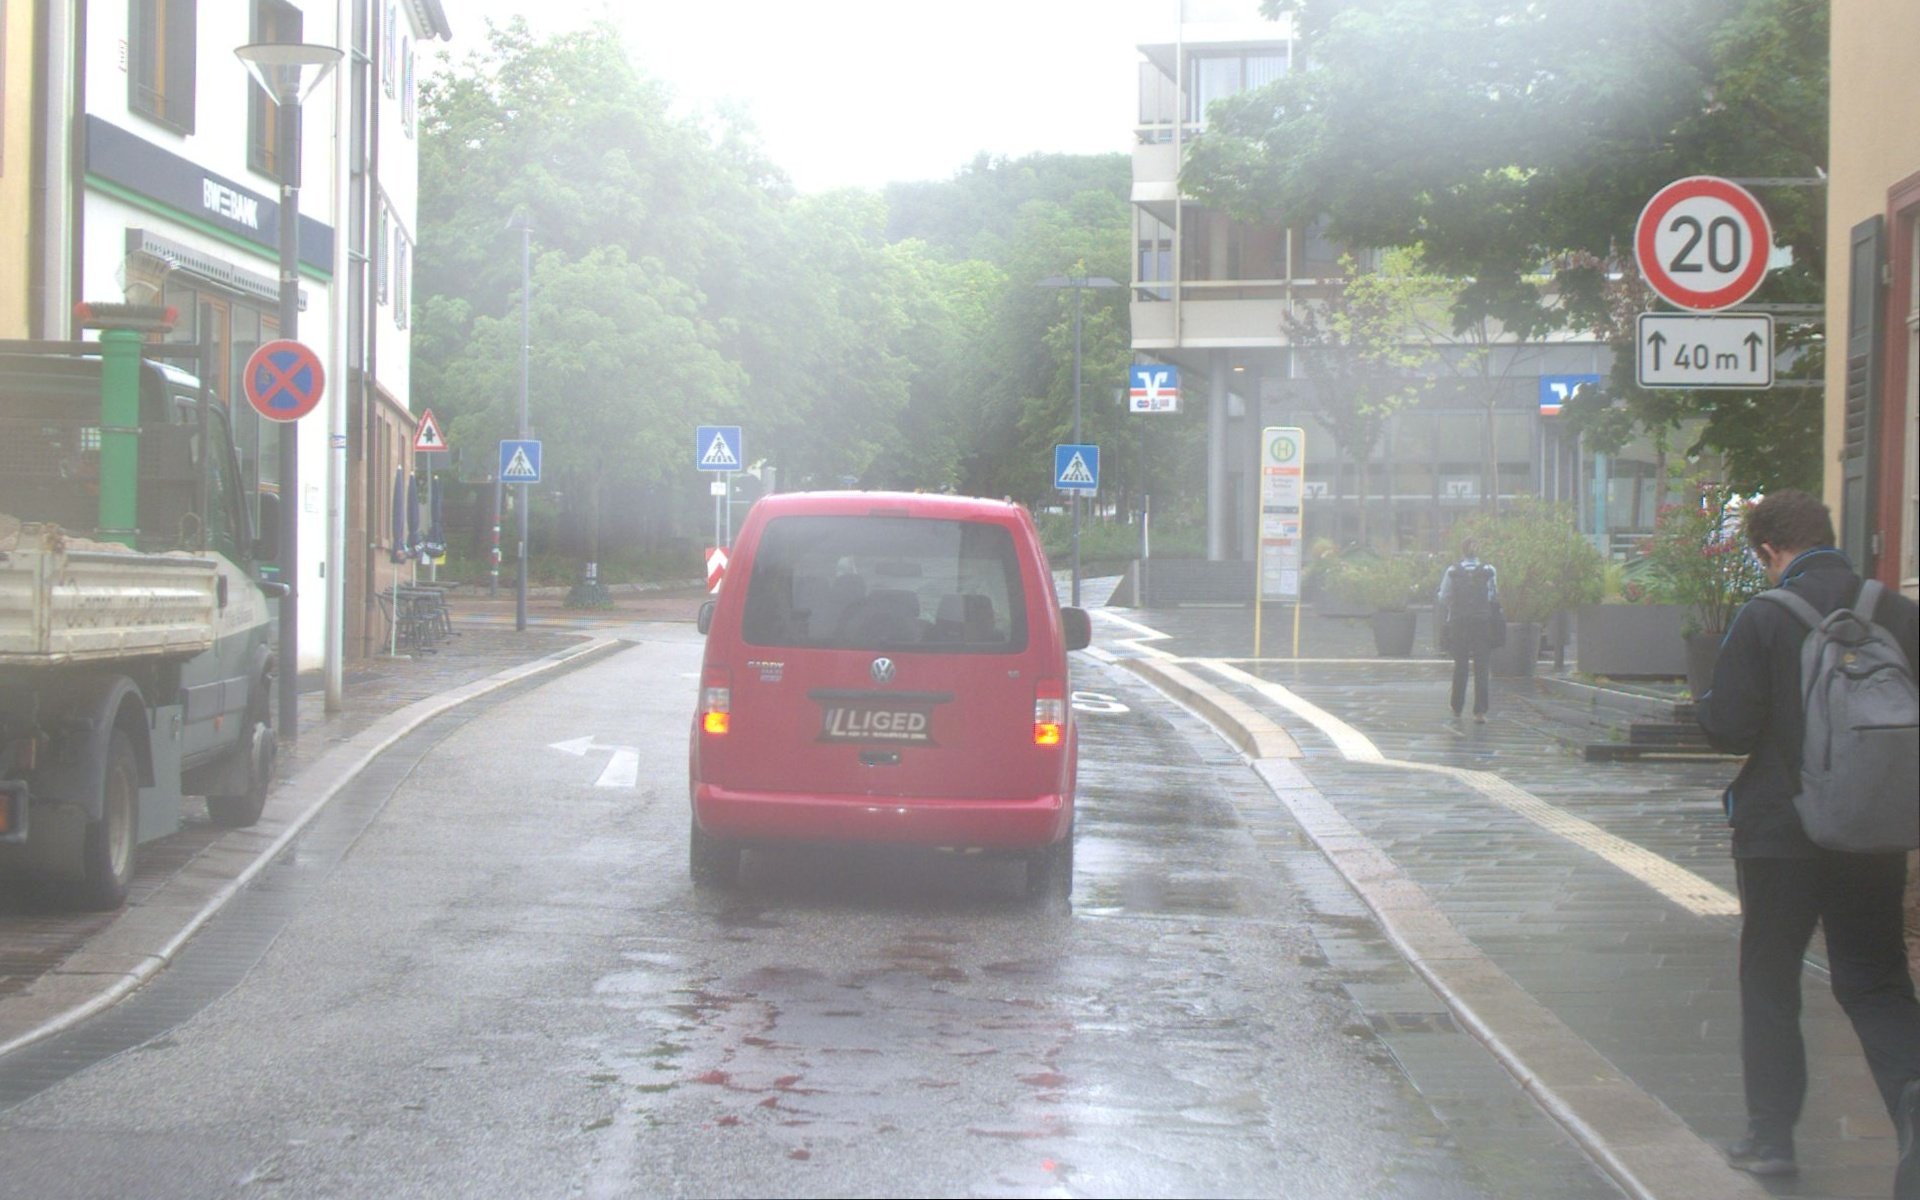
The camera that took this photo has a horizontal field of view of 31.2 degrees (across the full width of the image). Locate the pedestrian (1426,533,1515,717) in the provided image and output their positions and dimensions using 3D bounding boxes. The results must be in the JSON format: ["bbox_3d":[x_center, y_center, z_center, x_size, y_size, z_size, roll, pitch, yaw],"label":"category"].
[{"bbox_3d":[4.521,0.220,30.496,0.728,1.611,0.693,0,0,4],"label":"pedestrian"}]

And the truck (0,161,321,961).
[{"bbox_3d":[-4.497,-0.227,15.203,2.473,2.785,6.601,0,2,-3],"label":"truck"}]

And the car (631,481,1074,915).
[{"bbox_3d":[-0.534,0.399,16.692,1.862,1.824,4.185,1,1,-2],"label":"car"}]

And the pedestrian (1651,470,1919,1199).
[{"bbox_3d":[2.058,0.544,8.137,0.714,1.687,0.868,0,1,4],"label":"pedestrian"}]
